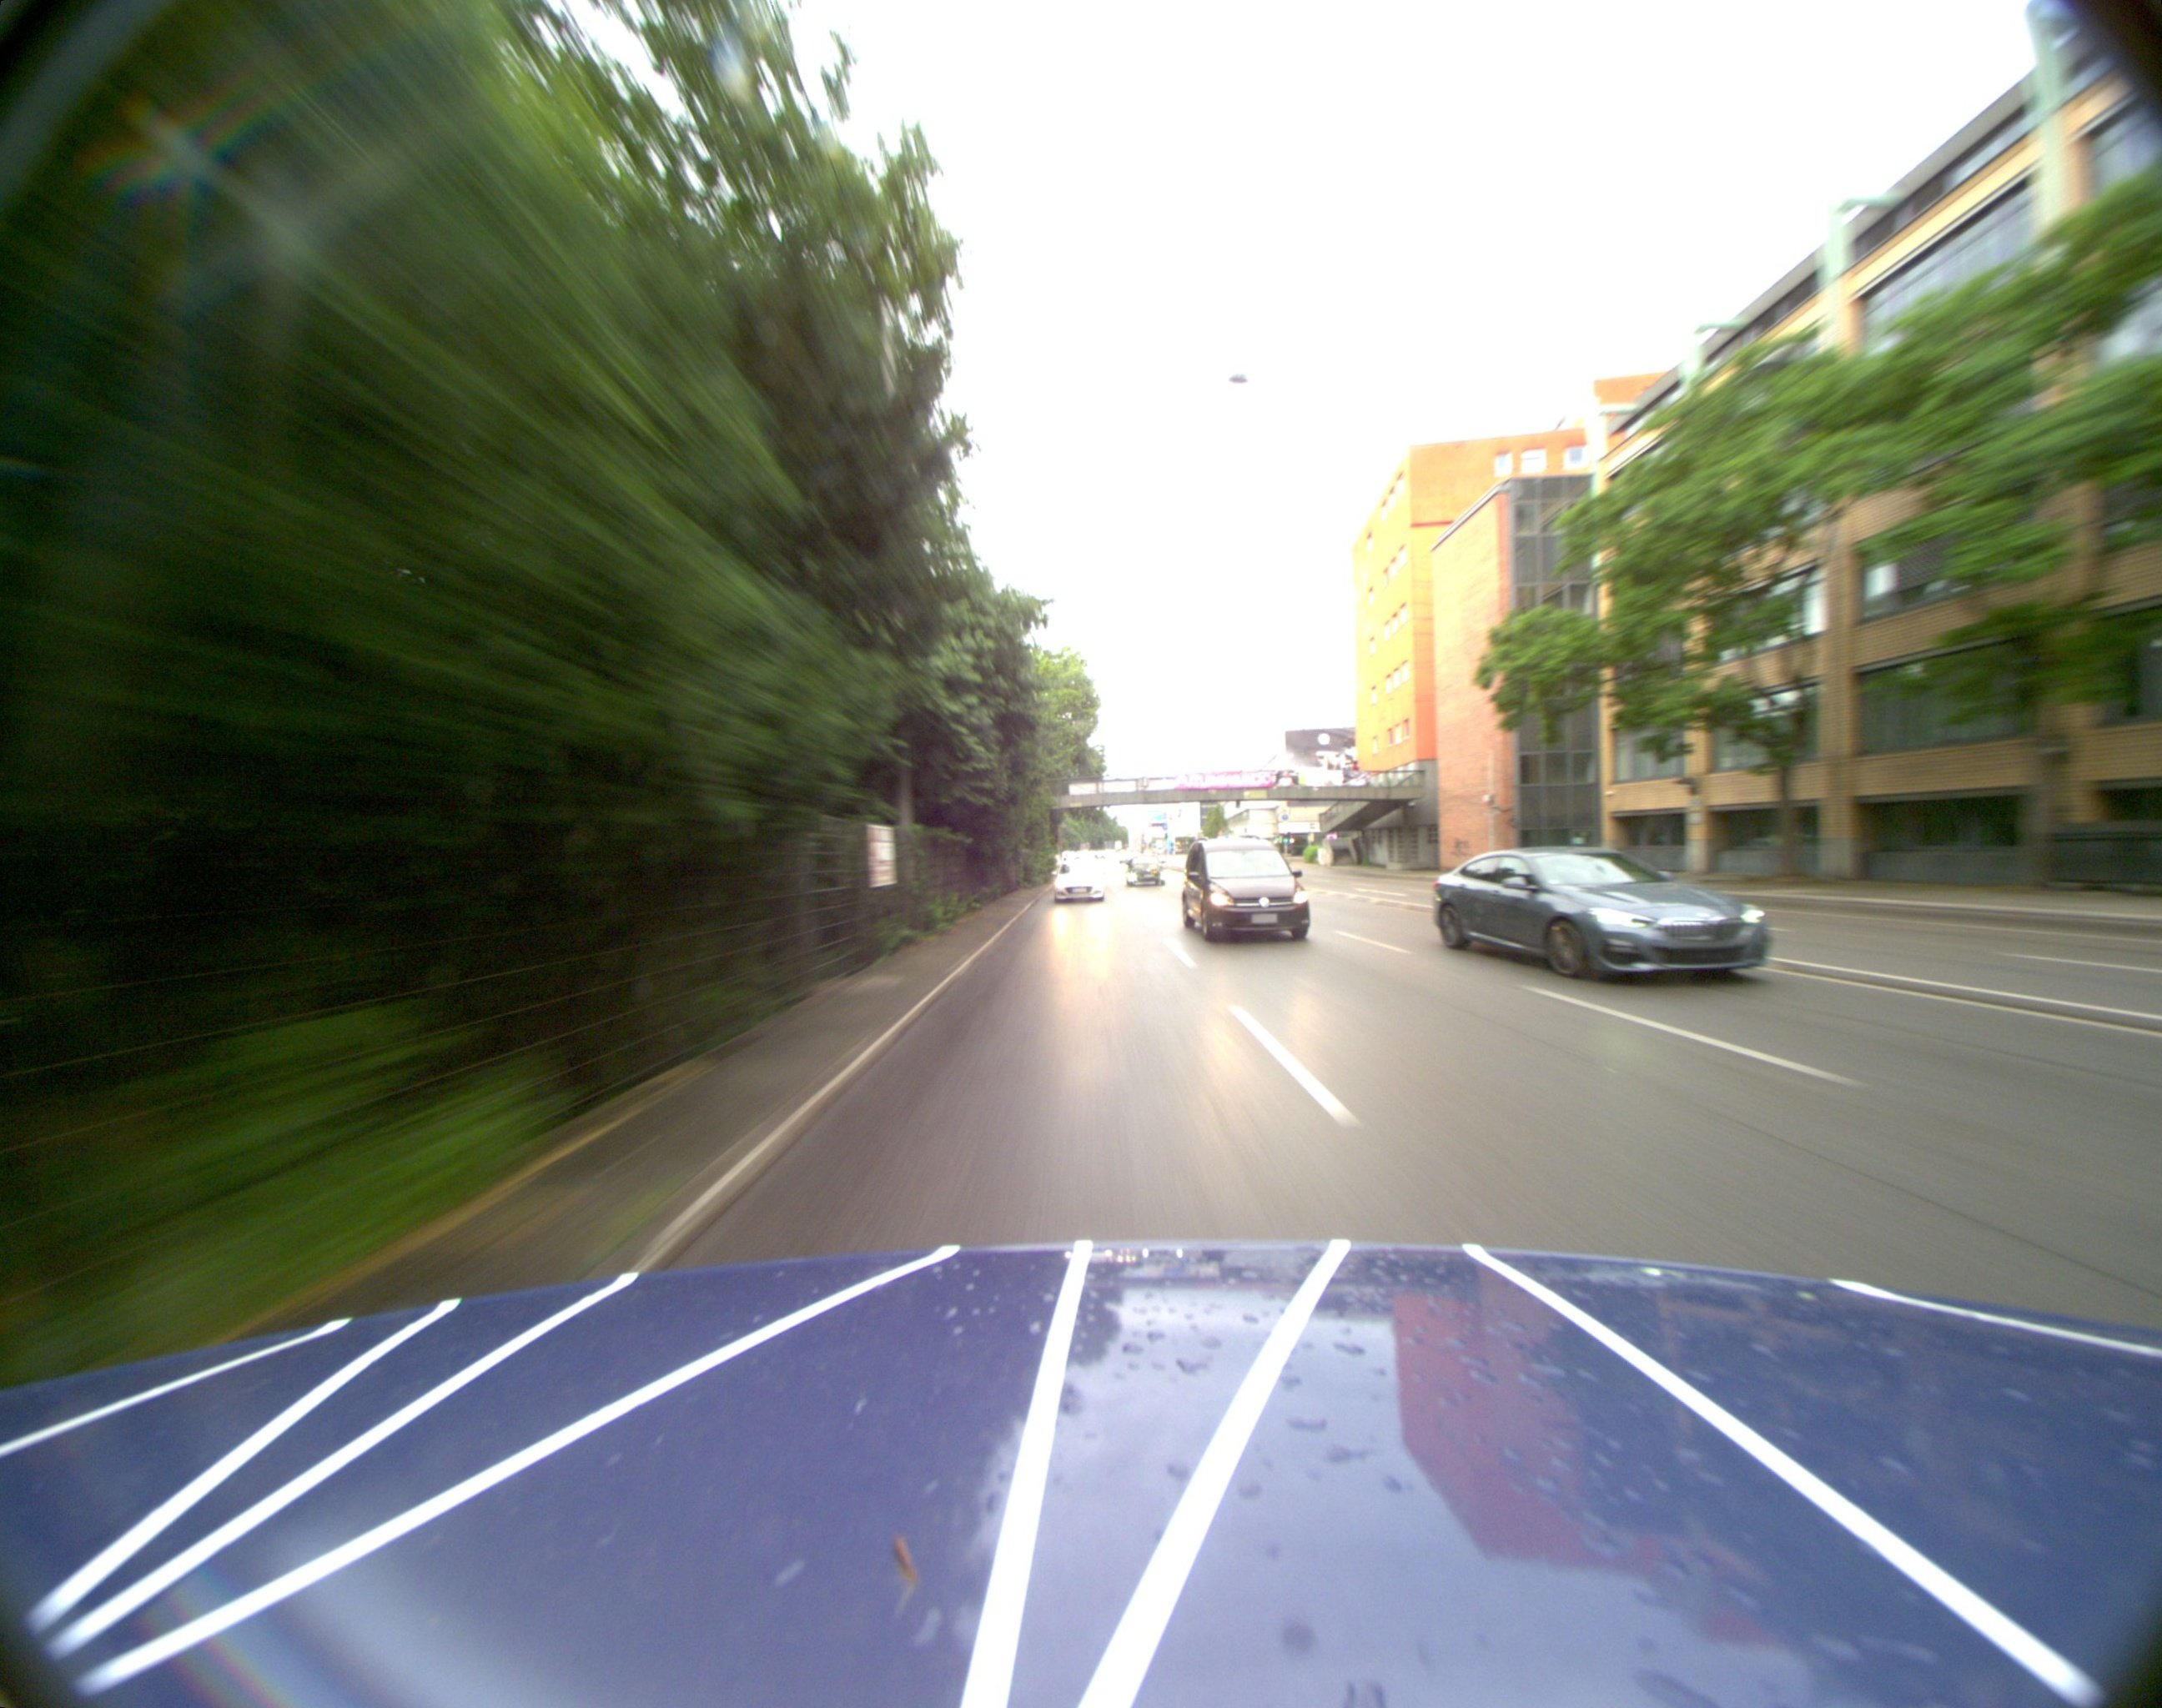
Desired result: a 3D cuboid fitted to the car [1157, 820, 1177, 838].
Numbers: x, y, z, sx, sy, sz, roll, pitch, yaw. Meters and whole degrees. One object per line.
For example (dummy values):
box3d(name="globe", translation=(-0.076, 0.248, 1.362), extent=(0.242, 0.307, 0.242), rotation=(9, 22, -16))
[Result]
box3d(name="car", translation=(8.699, -2.524, 76.953), extent=(1.823, 1.602, 4.001), rotation=(-3, 1, 6))

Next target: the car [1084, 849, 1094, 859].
box3d(name="car", translation=(1.680, -0.035, 154.962), extent=(1.878, 1.762, 3.999), rotation=(-4, 1, 1))

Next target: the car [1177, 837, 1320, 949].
box3d(name="car", translation=(2.932, 0.625, 14.123), extent=(1.842, 1.780, 4.000), rotation=(-1, 0, 1))

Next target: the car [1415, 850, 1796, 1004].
box3d(name="car", translation=(6.030, 0.702, 9.560), extent=(1.669, 1.406, 4.539), rotation=(-3, 0, 1))

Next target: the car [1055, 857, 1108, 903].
box3d(name="car", translation=(0.003, 0.899, 27.700), extent=(1.731, 1.431, 3.999), rotation=(-3, 1, 0))

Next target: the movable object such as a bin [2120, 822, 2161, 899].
box3d(name="movable object such as a bin", translation=(20.758, 0.102, 14.091), extent=(1.071, 1.428, 1.372), rotation=(-3, 0, -4))

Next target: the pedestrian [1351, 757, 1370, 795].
box3d(name="pedestrian", translation=(17.441, -4.859, 47.428), extent=(0.833, 2.242, 0.738), rotation=(-1, 1, -5))

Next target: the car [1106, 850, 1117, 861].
box3d(name="car", translation=(5.638, 0.290, 139.418), extent=(1.878, 1.762, 3.999), rotation=(-4, 1, 1))

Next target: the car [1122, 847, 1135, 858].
box3d(name="car", translation=(6.840, -0.227, 109.136), extent=(1.730, 1.502, 3.732), rotation=(-3, 1, 5))

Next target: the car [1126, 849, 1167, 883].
box3d(name="car", translation=(3.322, 0.575, 39.126), extent=(1.731, 1.604, 3.999), rotation=(-3, 1, 0))

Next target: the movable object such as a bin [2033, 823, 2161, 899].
box3d(name="movable object such as a bin", translation=(20.689, 0.130, 15.444), extent=(0.975, 1.428, 1.314), rotation=(-3, 0, -4))
